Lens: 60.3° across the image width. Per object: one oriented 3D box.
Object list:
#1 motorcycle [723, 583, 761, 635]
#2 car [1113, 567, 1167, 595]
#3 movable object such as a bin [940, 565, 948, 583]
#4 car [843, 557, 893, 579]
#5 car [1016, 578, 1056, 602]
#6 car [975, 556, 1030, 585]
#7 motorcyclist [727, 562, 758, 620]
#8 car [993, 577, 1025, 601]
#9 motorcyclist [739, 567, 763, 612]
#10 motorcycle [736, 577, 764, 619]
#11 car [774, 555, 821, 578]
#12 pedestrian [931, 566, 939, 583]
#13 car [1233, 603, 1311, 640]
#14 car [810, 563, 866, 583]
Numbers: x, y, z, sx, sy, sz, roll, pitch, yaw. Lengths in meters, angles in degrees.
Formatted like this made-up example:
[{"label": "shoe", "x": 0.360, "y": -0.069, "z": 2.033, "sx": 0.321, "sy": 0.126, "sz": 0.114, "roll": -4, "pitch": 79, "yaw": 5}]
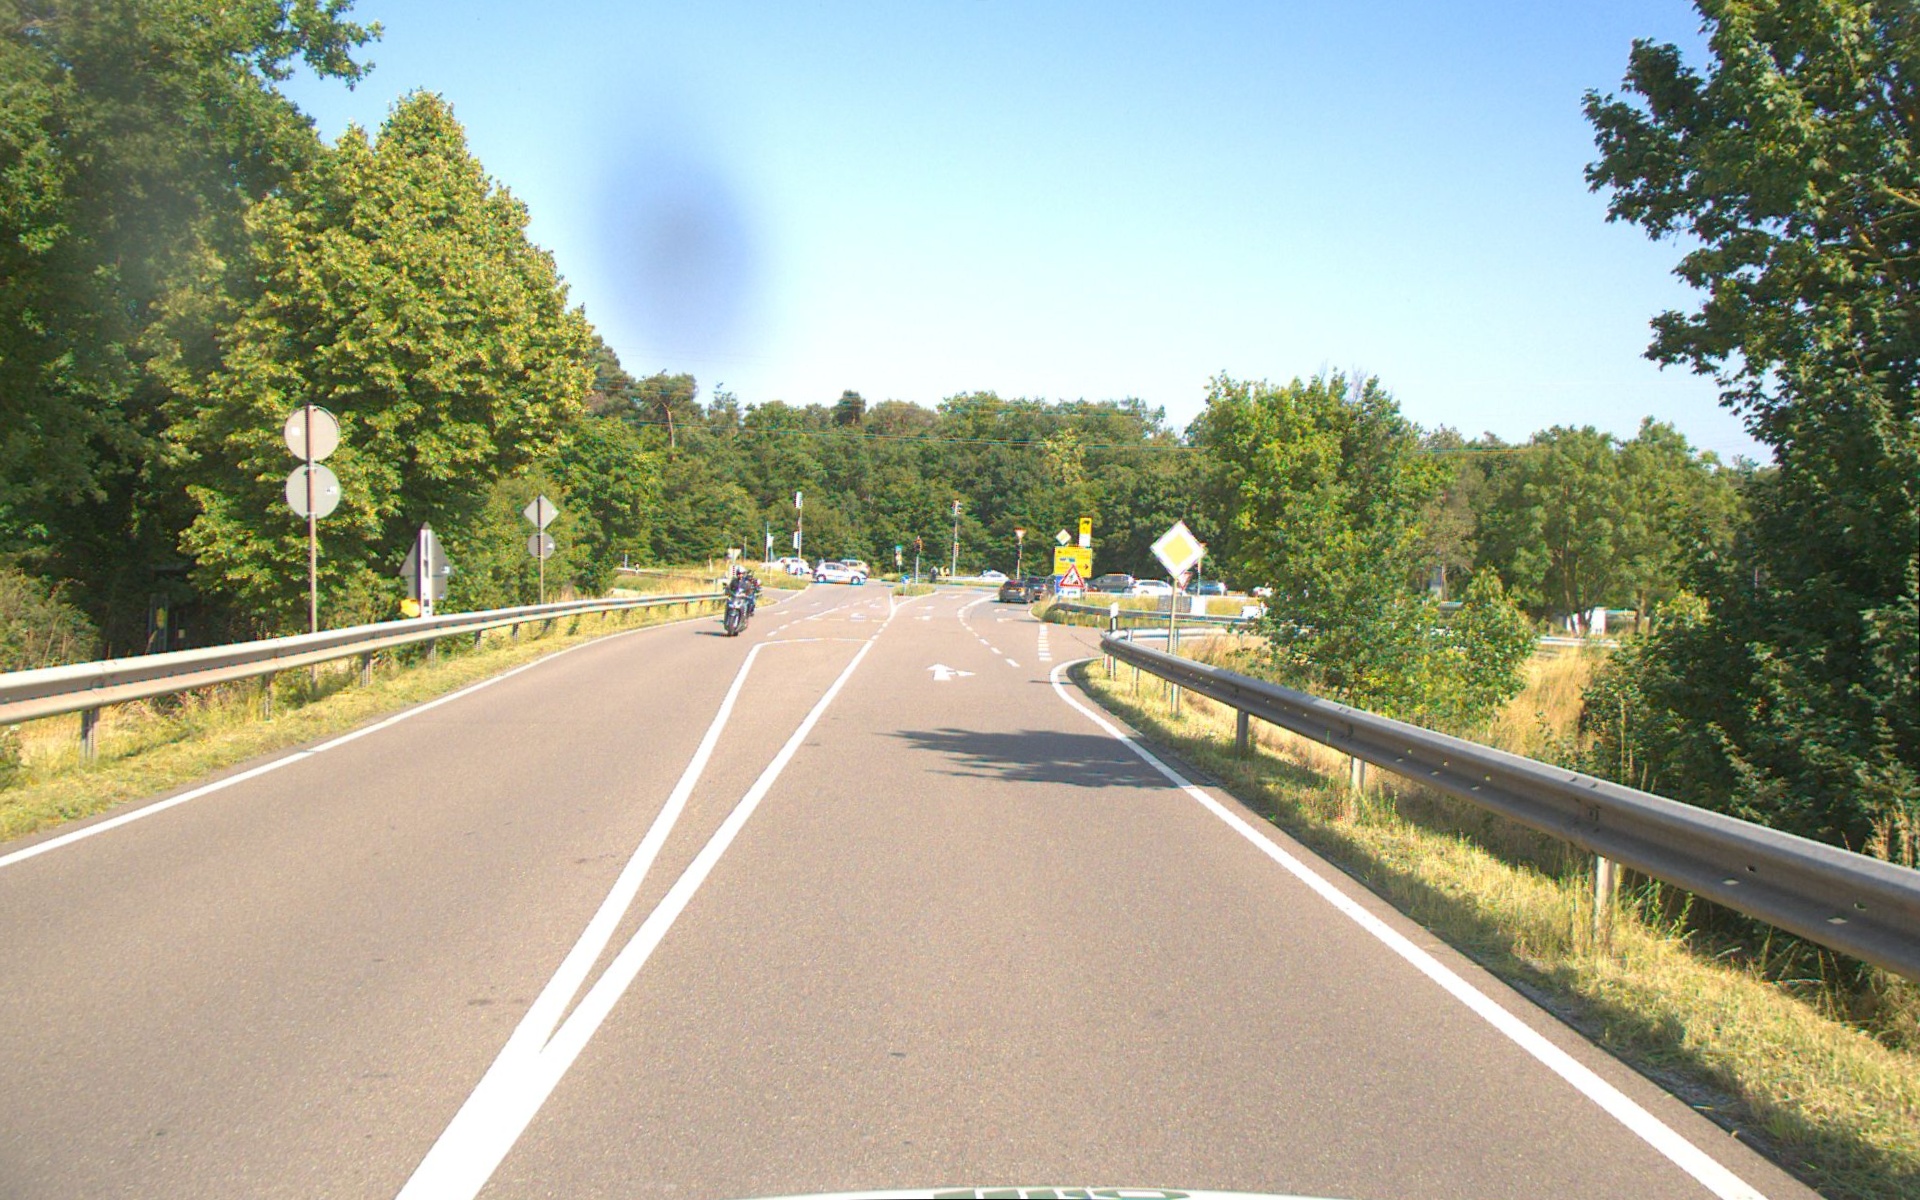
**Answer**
[{"label": "motorcycle", "x": -5.488, "y": 0.214, "z": 41.708, "sx": 0.702, "sy": 1.272, "sz": 2.078, "roll": 0, "pitch": 1, "yaw": -1}, {"label": "car", "x": 13.975, "y": -1.494, "z": 128.564, "sx": 3.909, "sy": 2.048, "sz": 1.799, "roll": 2, "pitch": 2, "yaw": -5}, {"label": "movable object such as a bin", "x": -1.375, "y": -2.241, "z": 143.431, "sx": 0.589, "sy": 1.514, "sz": 0.732, "roll": 0, "pitch": 1, "yaw": 7}, {"label": "car", "x": -7.589, "y": -2.595, "z": 136.004, "sx": 3.916, "sy": 1.780, "sz": 1.758, "roll": 0, "pitch": 1, "yaw": -12}, {"label": "car", "x": 5.169, "y": -0.677, "z": 112.253, "sx": 1.761, "sy": 1.527, "sz": 4.003, "roll": 3, "pitch": 1, "yaw": 16}, {"label": "car", "x": 3.275, "y": -2.262, "z": 127.603, "sx": 3.913, "sy": 2.048, "sz": 1.797, "roll": 2, "pitch": 2, "yaw": -9}, {"label": "motorcyclist", "x": -5.483, "y": -0.227, "z": 41.710, "sx": 0.684, "sy": 1.432, "sz": 0.784, "roll": 0, "pitch": 1, "yaw": -1}, {"label": "car", "x": 3.104, "y": -0.712, "z": 105.061, "sx": 1.761, "sy": 1.422, "sz": 4.003, "roll": -1, "pitch": 1, "yaw": 5}, {"label": "motorcyclist", "x": -6.768, "y": -0.356, "z": 53.469, "sx": 0.685, "sy": 1.432, "sz": 0.978, "roll": 0, "pitch": 1, "yaw": -3}, {"label": "motorcycle", "x": -6.767, "y": -0.077, "z": 53.389, "sx": 0.703, "sy": 1.331, "sz": 2.180, "roll": 0, "pitch": 1, "yaw": -3}, {"label": "car", "x": -14.734, "y": -3.047, "z": 150.082, "sx": 3.932, "sy": 2.049, "sz": 1.784, "roll": 0, "pitch": 1, "yaw": -22}, {"label": "pedestrian", "x": -2.145, "y": -2.203, "z": 142.907, "sx": 0.514, "sy": 1.415, "sz": 0.512, "roll": 1, "pitch": 1, "yaw": 36}, {"label": "car", "x": 17.946, "y": 1.226, "z": 95.047, "sx": 4.262, "sy": 1.814, "sz": 1.903, "roll": 4, "pitch": 1, "yaw": 12}, {"label": "car", "x": -9.242, "y": -2.022, "z": 124.898, "sx": 4.148, "sy": 1.485, "sz": 1.997, "roll": 0, "pitch": 1, "yaw": -8}]
